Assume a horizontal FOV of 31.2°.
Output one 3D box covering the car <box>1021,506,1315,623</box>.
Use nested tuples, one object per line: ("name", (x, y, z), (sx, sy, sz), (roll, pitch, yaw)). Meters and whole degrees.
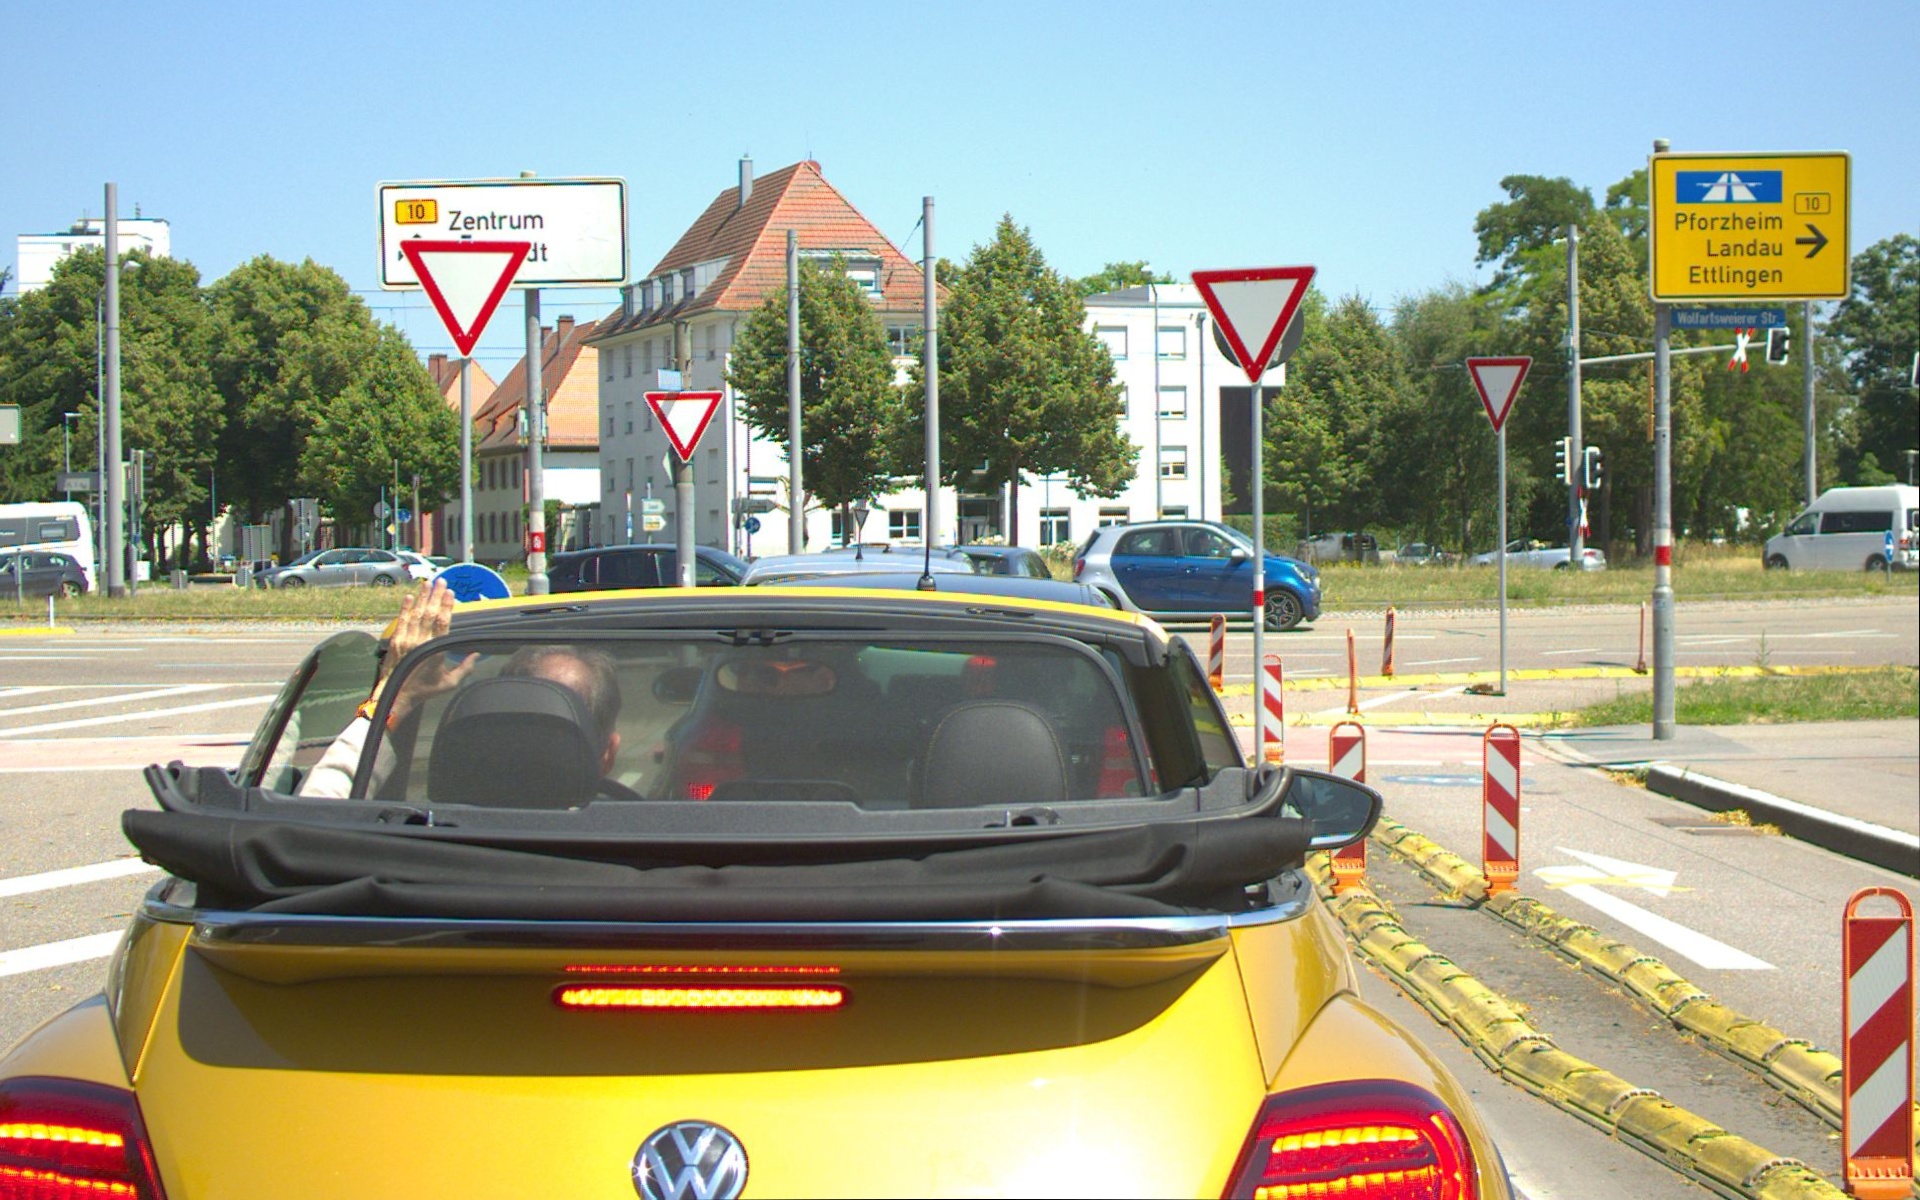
("car", (2.916, -0.496, 47.794), (3.988, 1.547, 1.727), (1, 0, 6))

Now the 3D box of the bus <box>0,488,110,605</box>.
("bus", (-27.014, -1.473, 93.487), (7.254, 3.161, 2.260), (0, 1, -38))

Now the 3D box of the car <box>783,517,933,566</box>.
("car", (-2.995, -1.693, 100.414), (4.316, 1.367, 1.752), (1, 0, -2))

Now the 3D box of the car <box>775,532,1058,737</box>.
("car", (-0.345, 0.212, 27.574), (2.065, 1.476, 4.543), (-1, 1, -1))

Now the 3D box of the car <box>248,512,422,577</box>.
("car", (-17.504, -1.543, 96.357), (4.431, 1.730, 1.848), (0, 1, -39))

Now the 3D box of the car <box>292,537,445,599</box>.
("car", (-17.232, -0.924, 100.238), (3.987, 1.766, 1.786), (0, 1, -35))

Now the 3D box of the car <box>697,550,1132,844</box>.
("car", (-0.239, 0.444, 18.570), (2.065, 1.377, 4.258), (1, 1, -1))

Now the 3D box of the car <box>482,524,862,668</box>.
("car", (-3.301, -0.057, 39.669), (3.990, 1.546, 1.727), (0, 3, 15))

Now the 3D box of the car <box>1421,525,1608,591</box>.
("car", (17.052, -1.308, 105.763), (5.321, 1.955, 1.990), (1, 1, 35))

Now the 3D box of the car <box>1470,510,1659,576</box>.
("car", (18.438, -1.745, 104.962), (5.319, 1.955, 1.991), (1, 1, 27))

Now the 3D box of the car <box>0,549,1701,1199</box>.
("car", (-0.276, 0.680, 5.098), (1.765, 1.476, 4.258), (1, 1, -1))

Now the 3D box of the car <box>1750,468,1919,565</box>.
("car", (22.986, -2.114, 88.292), (1.988, 2.389, 5.328), (1, 1, -33))

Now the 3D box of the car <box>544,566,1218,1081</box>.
("car", (-0.242, 0.600, 11.675), (1.851, 1.361, 4.258), (-1, 1, -1))
